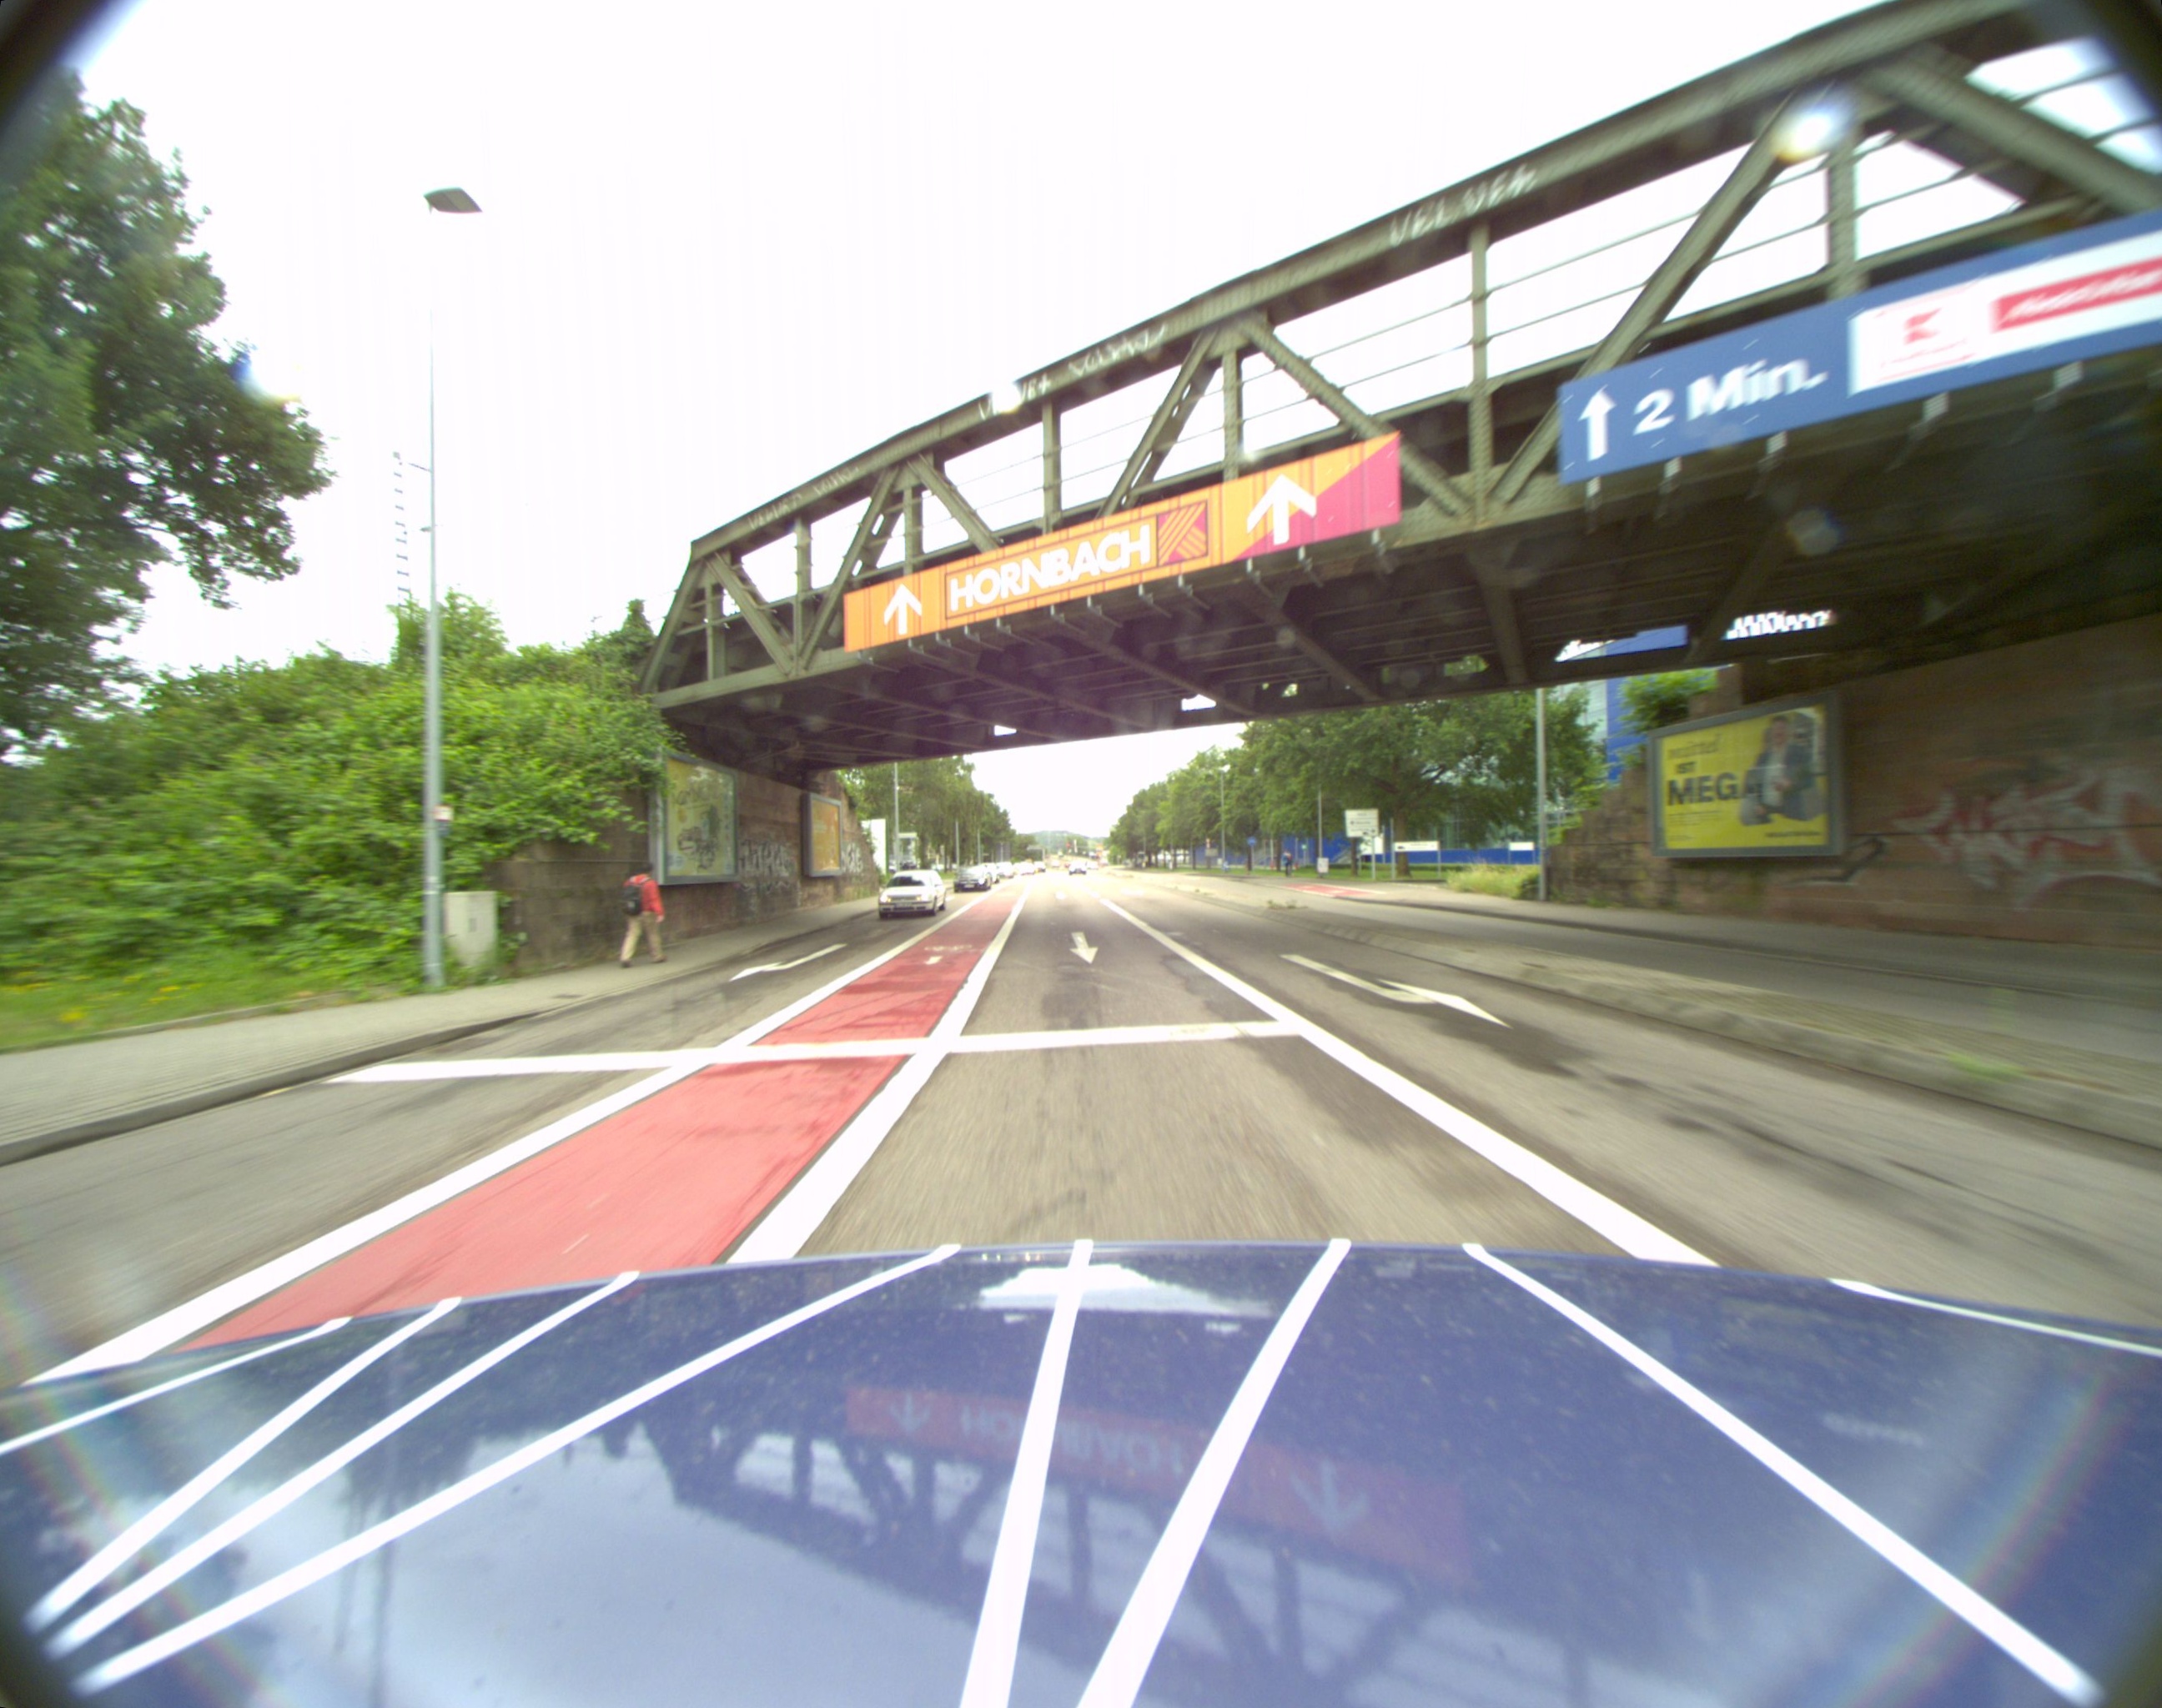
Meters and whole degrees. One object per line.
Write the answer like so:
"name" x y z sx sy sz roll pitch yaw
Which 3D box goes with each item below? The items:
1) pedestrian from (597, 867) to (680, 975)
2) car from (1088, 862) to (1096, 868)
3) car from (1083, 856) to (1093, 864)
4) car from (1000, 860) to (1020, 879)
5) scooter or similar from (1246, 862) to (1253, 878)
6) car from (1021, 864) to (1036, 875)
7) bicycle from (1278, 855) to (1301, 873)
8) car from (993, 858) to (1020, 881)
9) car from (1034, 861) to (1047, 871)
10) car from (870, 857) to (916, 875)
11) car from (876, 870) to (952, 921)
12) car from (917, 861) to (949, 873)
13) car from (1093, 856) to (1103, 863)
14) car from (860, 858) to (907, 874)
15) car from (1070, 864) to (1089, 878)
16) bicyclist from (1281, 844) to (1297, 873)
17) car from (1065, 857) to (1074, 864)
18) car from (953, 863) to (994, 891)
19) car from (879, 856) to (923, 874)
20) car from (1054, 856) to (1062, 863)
"pedestrian" -7.454 1.116 12.829 0.873 1.749 0.788 -1 0 9
"car" 2.388 2.339 164.666 1.628 1.414 3.611 0 -1 -3
"car" 1.621 1.399 173.547 1.772 1.913 4.907 0 -1 -4
"car" -7.179 1.562 76.638 1.995 1.838 4.102 -1 -1 -6
"scooter or similar" 14.312 1.337 64.665 0.448 1.314 1.506 -1 0 7
"car" -7.040 2.034 102.261 1.837 1.415 3.999 -2 -1 -3
"bicycle" 13.974 0.663 51.038 0.715 1.180 2.370 -3 0 -2
"car" -5.681 1.167 57.399 1.788 1.637 3.997 -1 0 -8
"car" -6.305 1.912 118.543 1.837 1.415 3.999 -2 -1 -3
"car" -19.823 1.217 80.291 4.310 1.591 1.968 -4 0 -5
"car" -5.382 1.290 24.907 1.727 1.415 3.940 -2 -1 -3
"car" -21.395 1.910 109.849 4.200 1.423 1.739 -4 0 -3
"car" 3.492 1.173 156.725 1.681 1.420 3.649 0 -1 -6
"car" -19.822 1.231 76.384 4.311 1.480 1.739 -2 -1 -8
"car" -0.183 1.793 82.274 1.837 1.415 3.999 -2 -1 -3
"bicyclist" 13.950 0.308 51.035 0.704 1.863 1.019 -3 1 -3
"car" -3.047 1.828 199.775 1.652 1.787 3.978 1 -1 -9
"car" -5.889 1.252 42.036 1.837 1.415 3.999 -2 -1 -3
"car" -19.643 1.188 83.076 4.309 1.591 1.969 -4 0 -2
"car" -6.016 1.558 200.825 1.652 1.787 3.978 0 -1 -9
